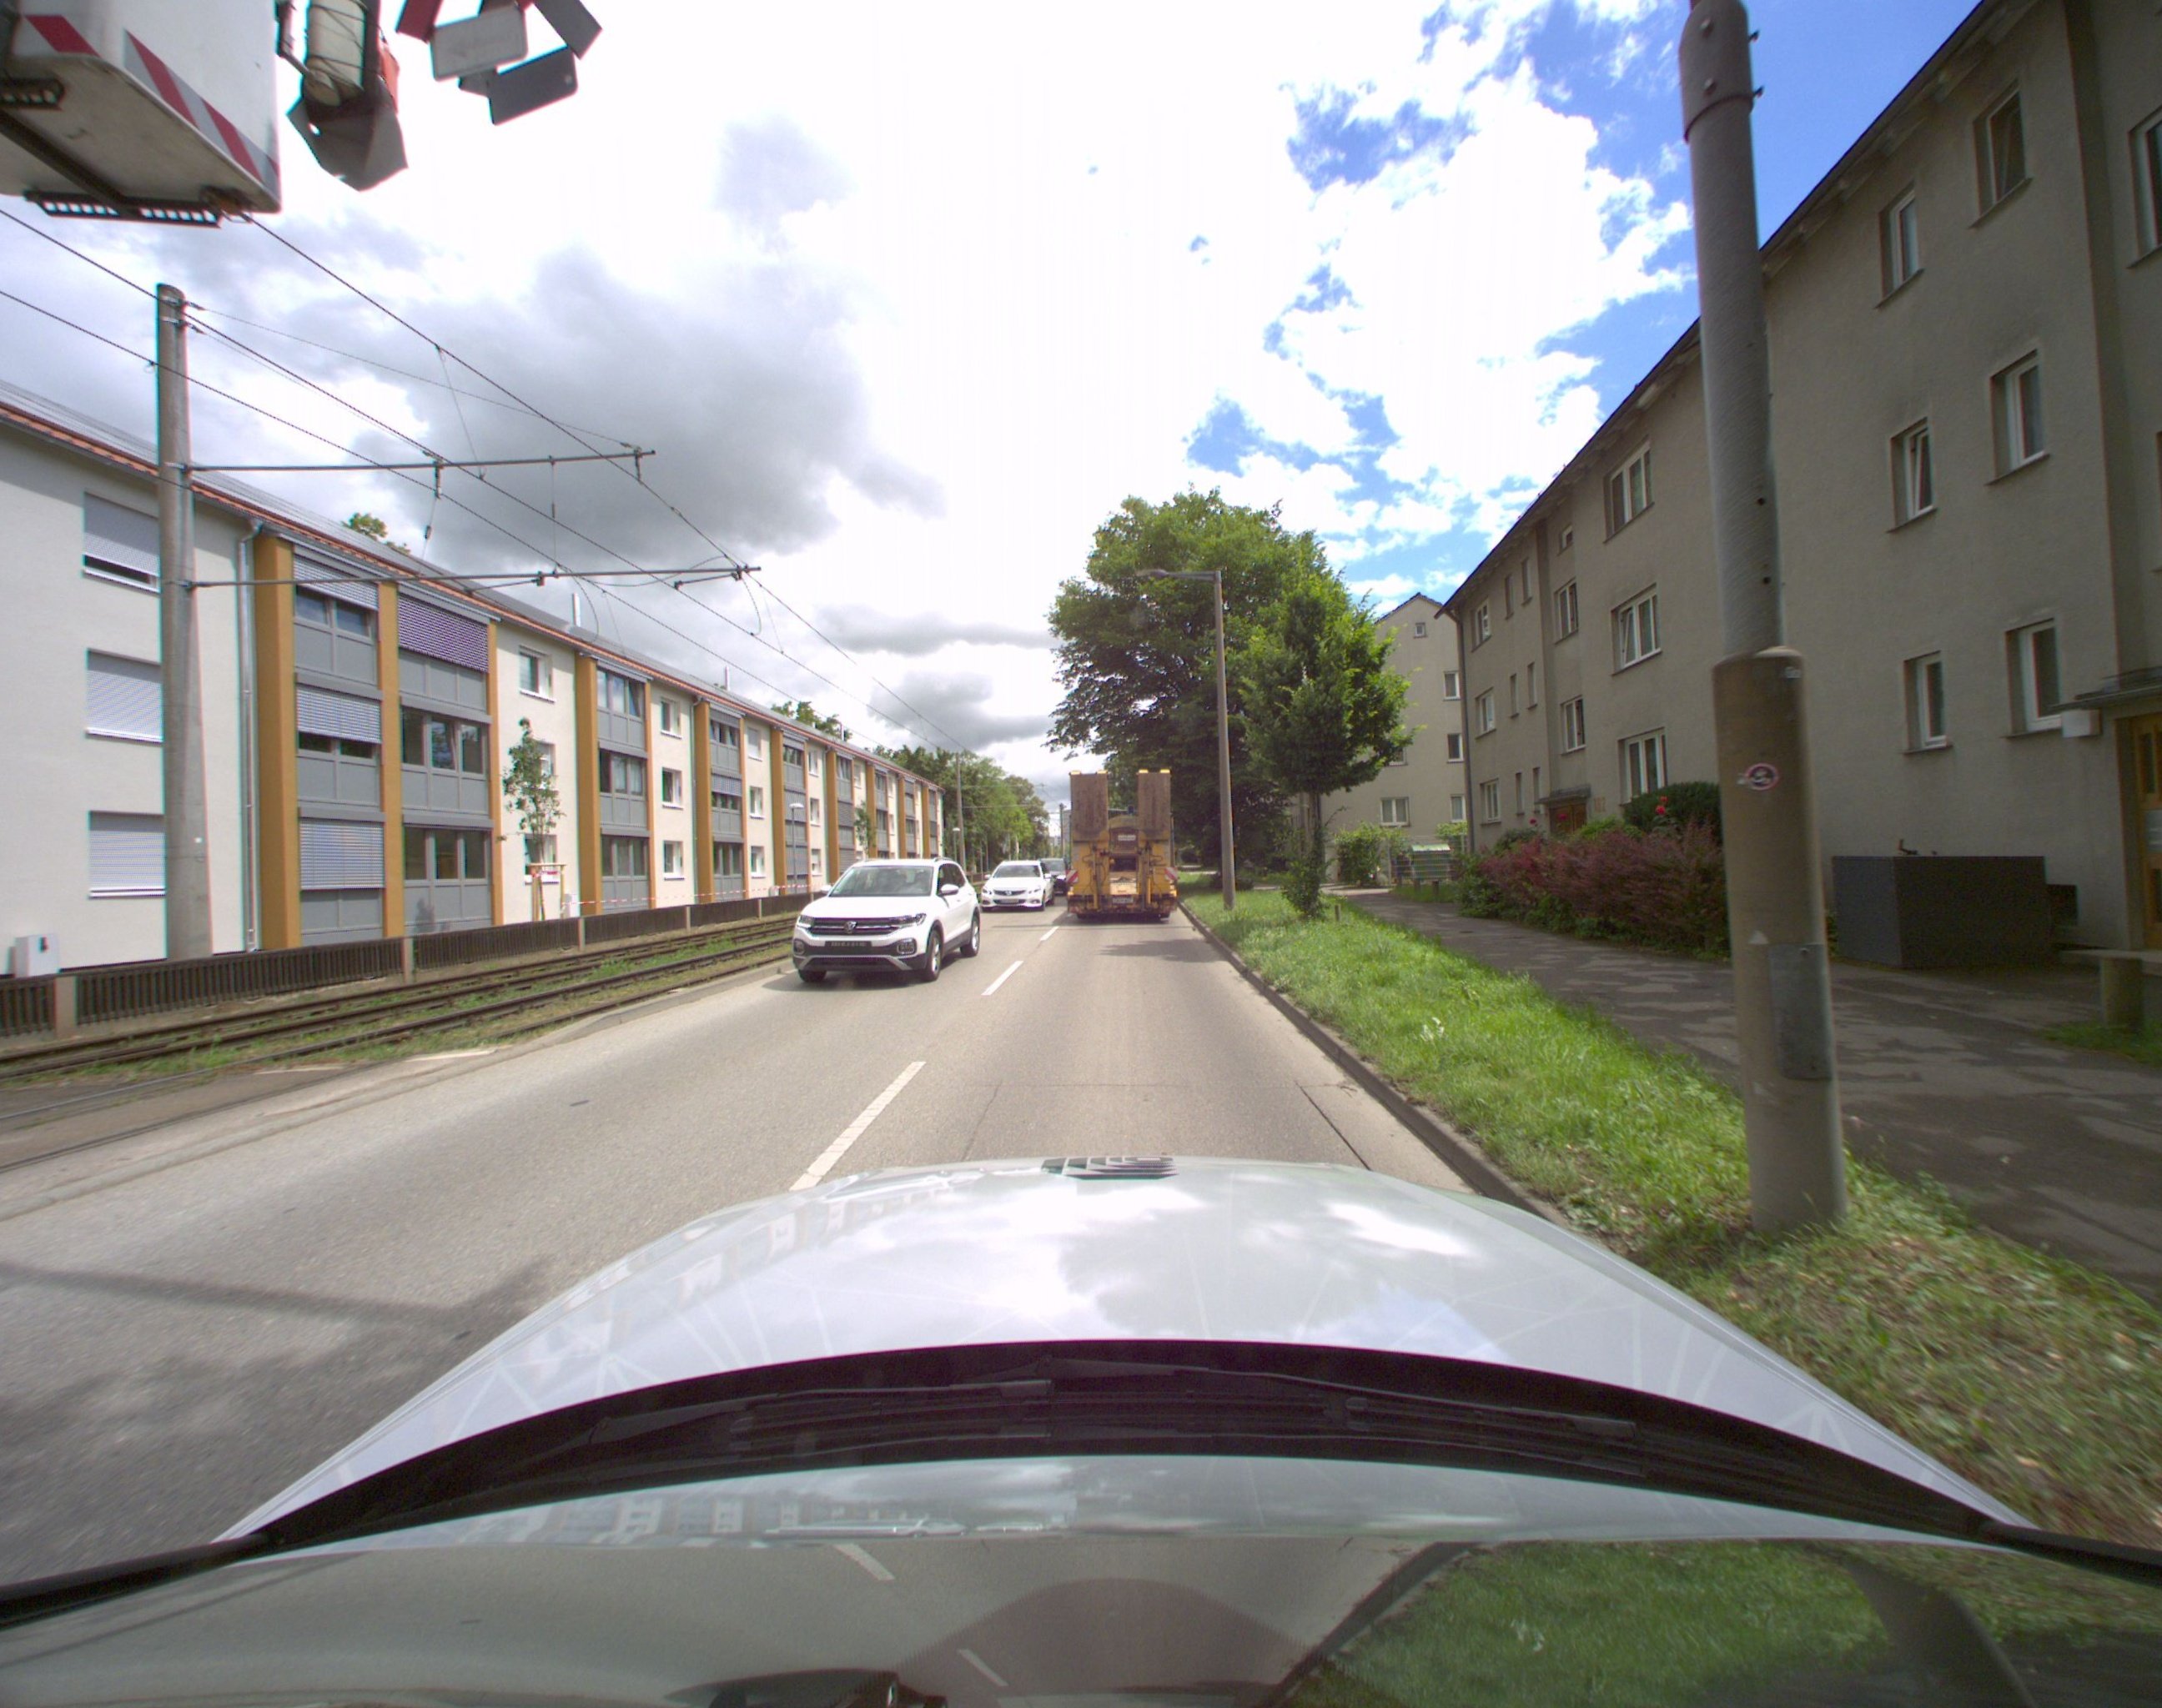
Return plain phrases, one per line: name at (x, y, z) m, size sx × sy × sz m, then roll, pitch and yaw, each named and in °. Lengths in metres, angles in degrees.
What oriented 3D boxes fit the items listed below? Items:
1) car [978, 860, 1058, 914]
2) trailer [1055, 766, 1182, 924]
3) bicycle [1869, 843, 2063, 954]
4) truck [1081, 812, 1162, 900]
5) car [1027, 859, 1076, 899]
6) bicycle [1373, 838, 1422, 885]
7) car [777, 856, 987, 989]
car at (-1.850, 0.960, 25.277) m, size 1.871 × 1.481 × 4.532 m, roll -1°, pitch 0°, yaw 3°
trailer at (1.123, -0.191, 23.927) m, size 2.811 × 3.524 × 11.059 m, roll -1°, pitch 0°, yaw 3°
bicycle at (9.154, 0.422, 8.513) m, size 0.476 × 1.032 × 1.575 m, roll -3°, pitch 0°, yaw 10°
truck at (1.702, 0.081, 33.269) m, size 2.905 × 3.167 × 7.687 m, roll -1°, pitch 0°, yaw 3°
car at (-1.192, 1.009, 34.260) m, size 1.643 × 1.520 × 3.869 m, roll -1°, pitch 0°, yaw 4°
bicycle at (11.237, 0.266, 28.943) m, size 1.341 × 1.574 × 1.073 m, roll -3°, pitch 0°, yaw 5°
car at (-2.595, 0.826, 11.610) m, size 1.710 × 1.552 × 3.922 m, roll -1°, pitch 0°, yaw 5°
